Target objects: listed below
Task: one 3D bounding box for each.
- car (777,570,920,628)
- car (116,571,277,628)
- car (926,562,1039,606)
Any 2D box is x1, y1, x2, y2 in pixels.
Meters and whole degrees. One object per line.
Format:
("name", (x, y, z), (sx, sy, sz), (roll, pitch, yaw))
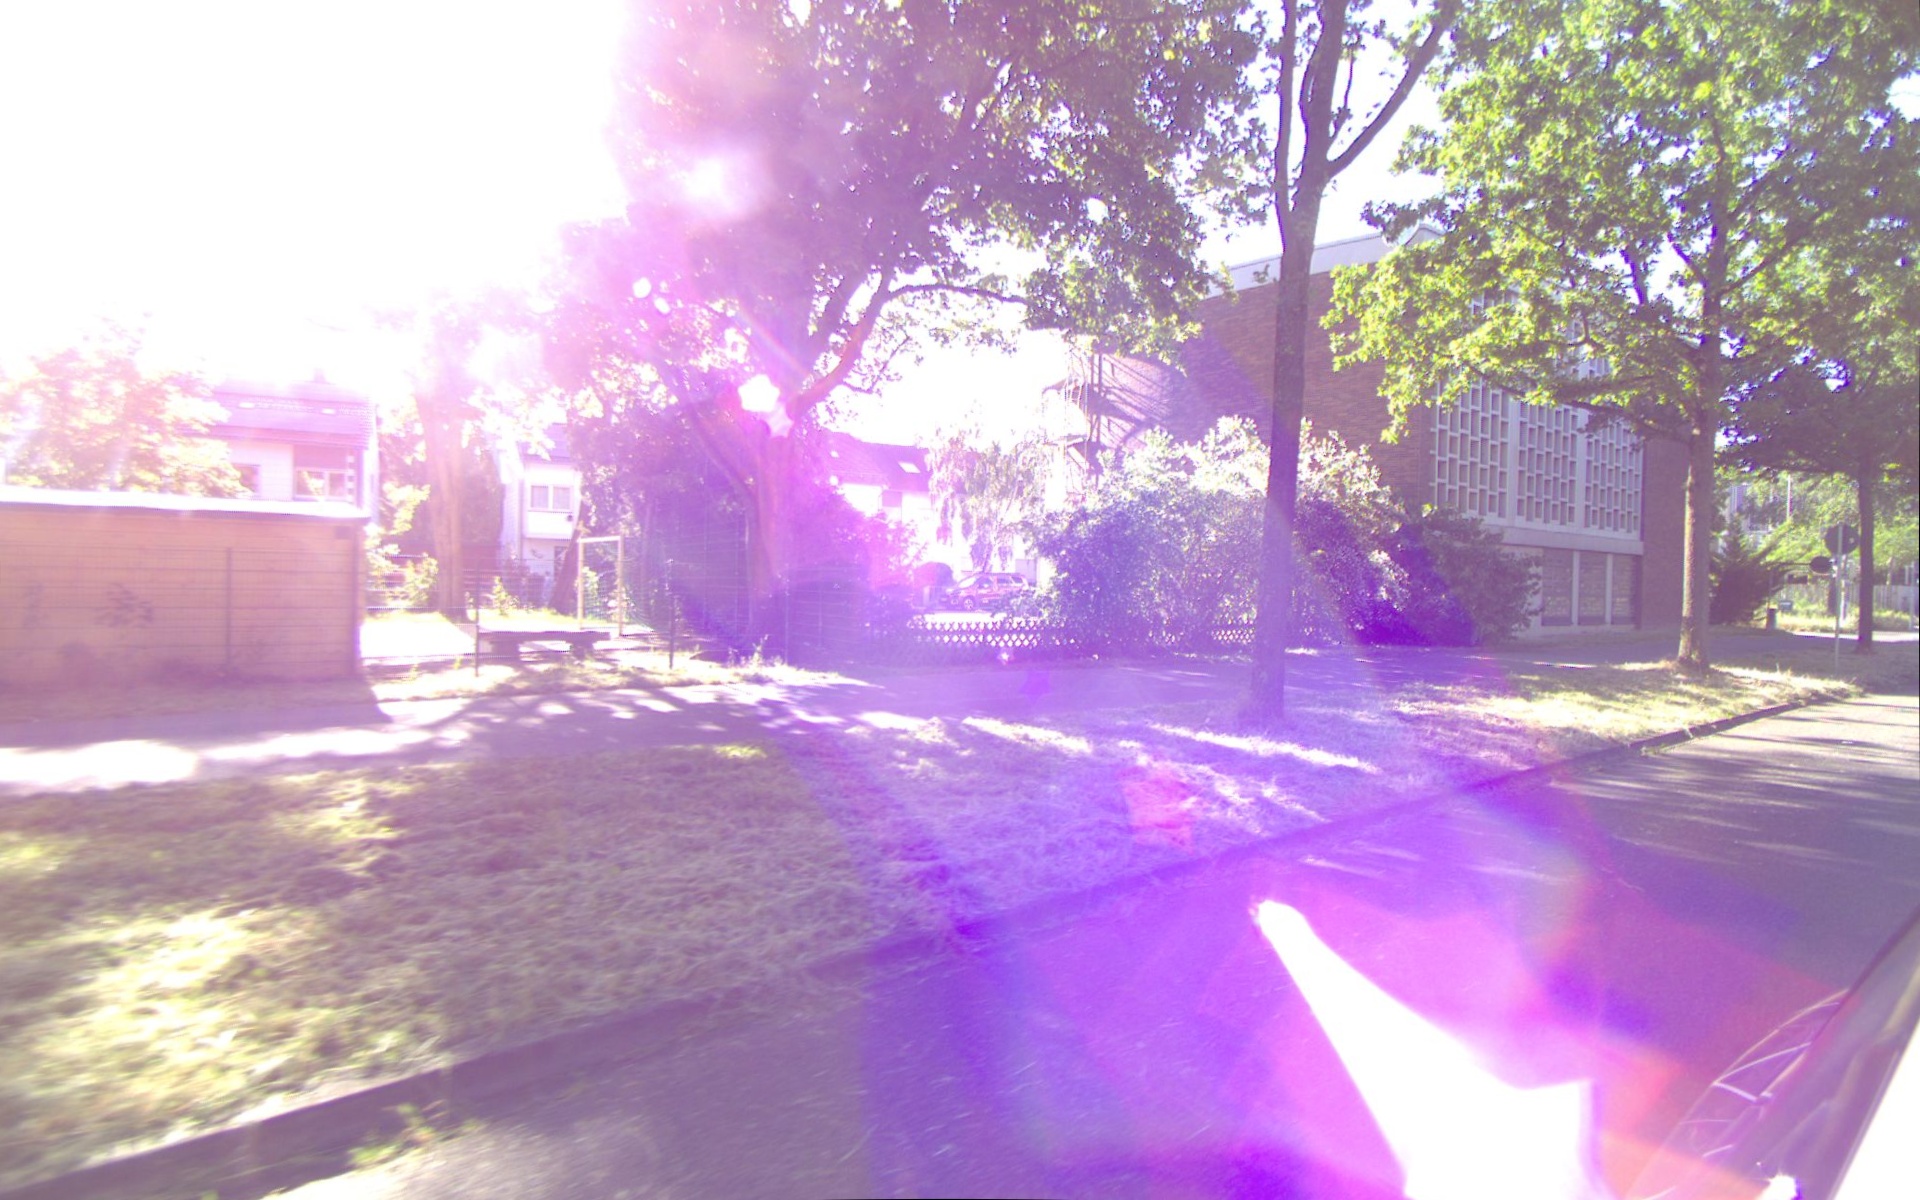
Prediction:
("car", (-3.384, -0.087, 30.875), (3.920, 1.637, 1.883), (-1, 3, -29))
("car", (-25.434, -0.051, 33.897), (3.916, 1.771, 1.909), (-1, 2, -21))
("car", (1.111, -0.819, 49.580), (5.163, 2.038, 2.304), (-1, 3, -33))
